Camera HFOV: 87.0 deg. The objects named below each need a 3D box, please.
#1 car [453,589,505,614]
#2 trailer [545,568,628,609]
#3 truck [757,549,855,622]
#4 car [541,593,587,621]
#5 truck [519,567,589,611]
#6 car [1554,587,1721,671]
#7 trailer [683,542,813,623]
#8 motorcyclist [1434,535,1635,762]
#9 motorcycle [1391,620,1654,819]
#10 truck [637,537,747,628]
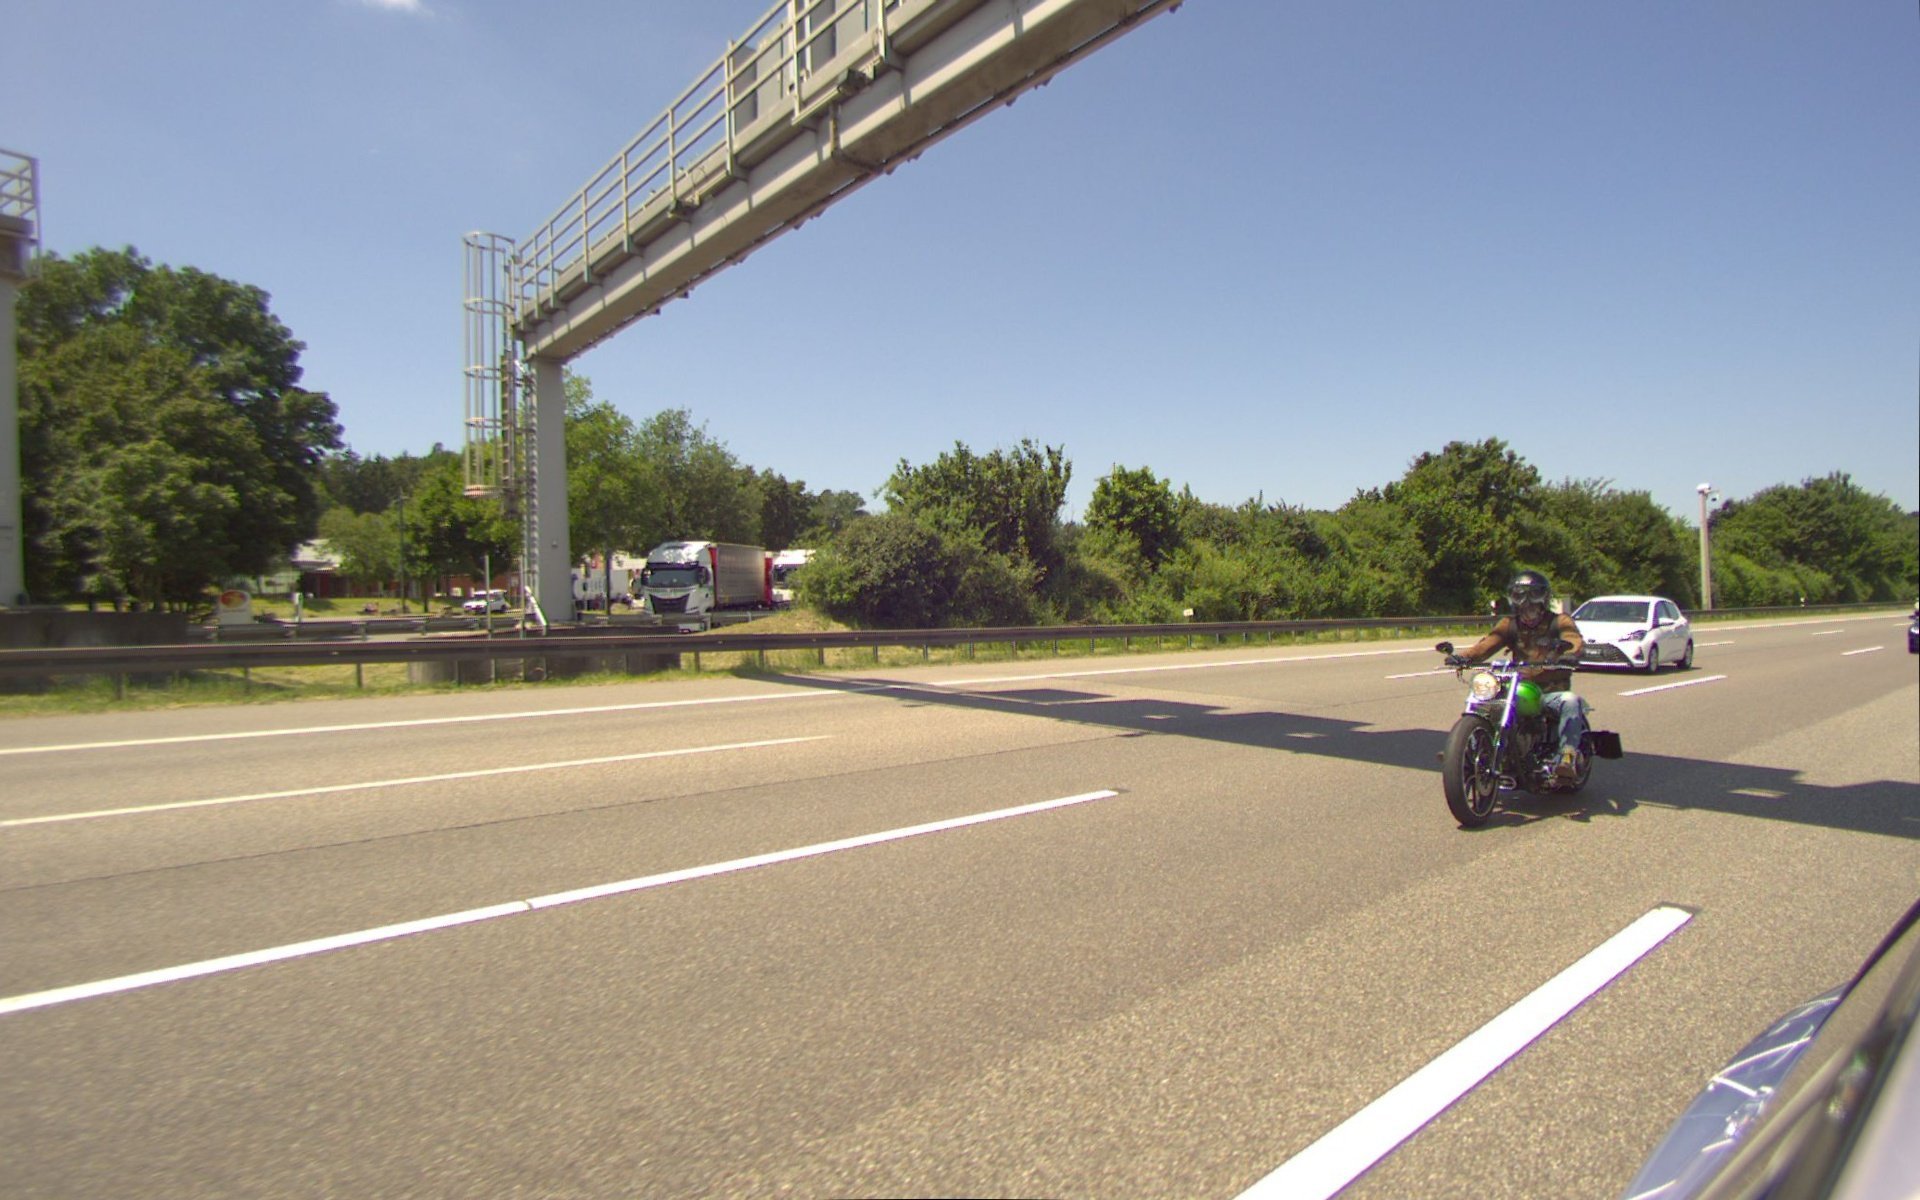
[{"bbox_3d":[-40.503,0.106,85.362,2.482,2.039,4.478,-2,1,-5],"label":"car"},{"bbox_3d":[-35.680,-1.118,97.328,3.382,3.677,10.750,-2,1,3],"label":"trailer"},{"bbox_3d":[-7.966,-0.771,53.636,2.414,3.472,9.006,-2,1,9],"label":"truck"},{"bbox_3d":[-30.531,0.510,78.162,2.128,2.039,4.478,-2,1,-5],"label":"car"},{"bbox_3d":[-36.094,-1.015,90.192,3.420,3.656,6.029,-2,1,4],"label":"truck"},{"bbox_3d":[13.928,0.520,20.717,4.405,1.538,1.753,0,0,-41],"label":"car"},{"bbox_3d":[-10.751,-0.895,53.252,2.462,3.659,13.343,-2,1,7],"label":"trailer"},{"bbox_3d":[4.008,0.297,7.077,1.003,1.445,0.856,0,1,-33],"label":"motorcyclist"},{"bbox_3d":[3.951,0.740,7.010,2.389,1.150,0.538,0,1,-33],"label":"motorcycle"},{"bbox_3d":[-11.760,-0.776,44.995,2.451,3.656,6.314,-2,1,7],"label":"truck"}]
